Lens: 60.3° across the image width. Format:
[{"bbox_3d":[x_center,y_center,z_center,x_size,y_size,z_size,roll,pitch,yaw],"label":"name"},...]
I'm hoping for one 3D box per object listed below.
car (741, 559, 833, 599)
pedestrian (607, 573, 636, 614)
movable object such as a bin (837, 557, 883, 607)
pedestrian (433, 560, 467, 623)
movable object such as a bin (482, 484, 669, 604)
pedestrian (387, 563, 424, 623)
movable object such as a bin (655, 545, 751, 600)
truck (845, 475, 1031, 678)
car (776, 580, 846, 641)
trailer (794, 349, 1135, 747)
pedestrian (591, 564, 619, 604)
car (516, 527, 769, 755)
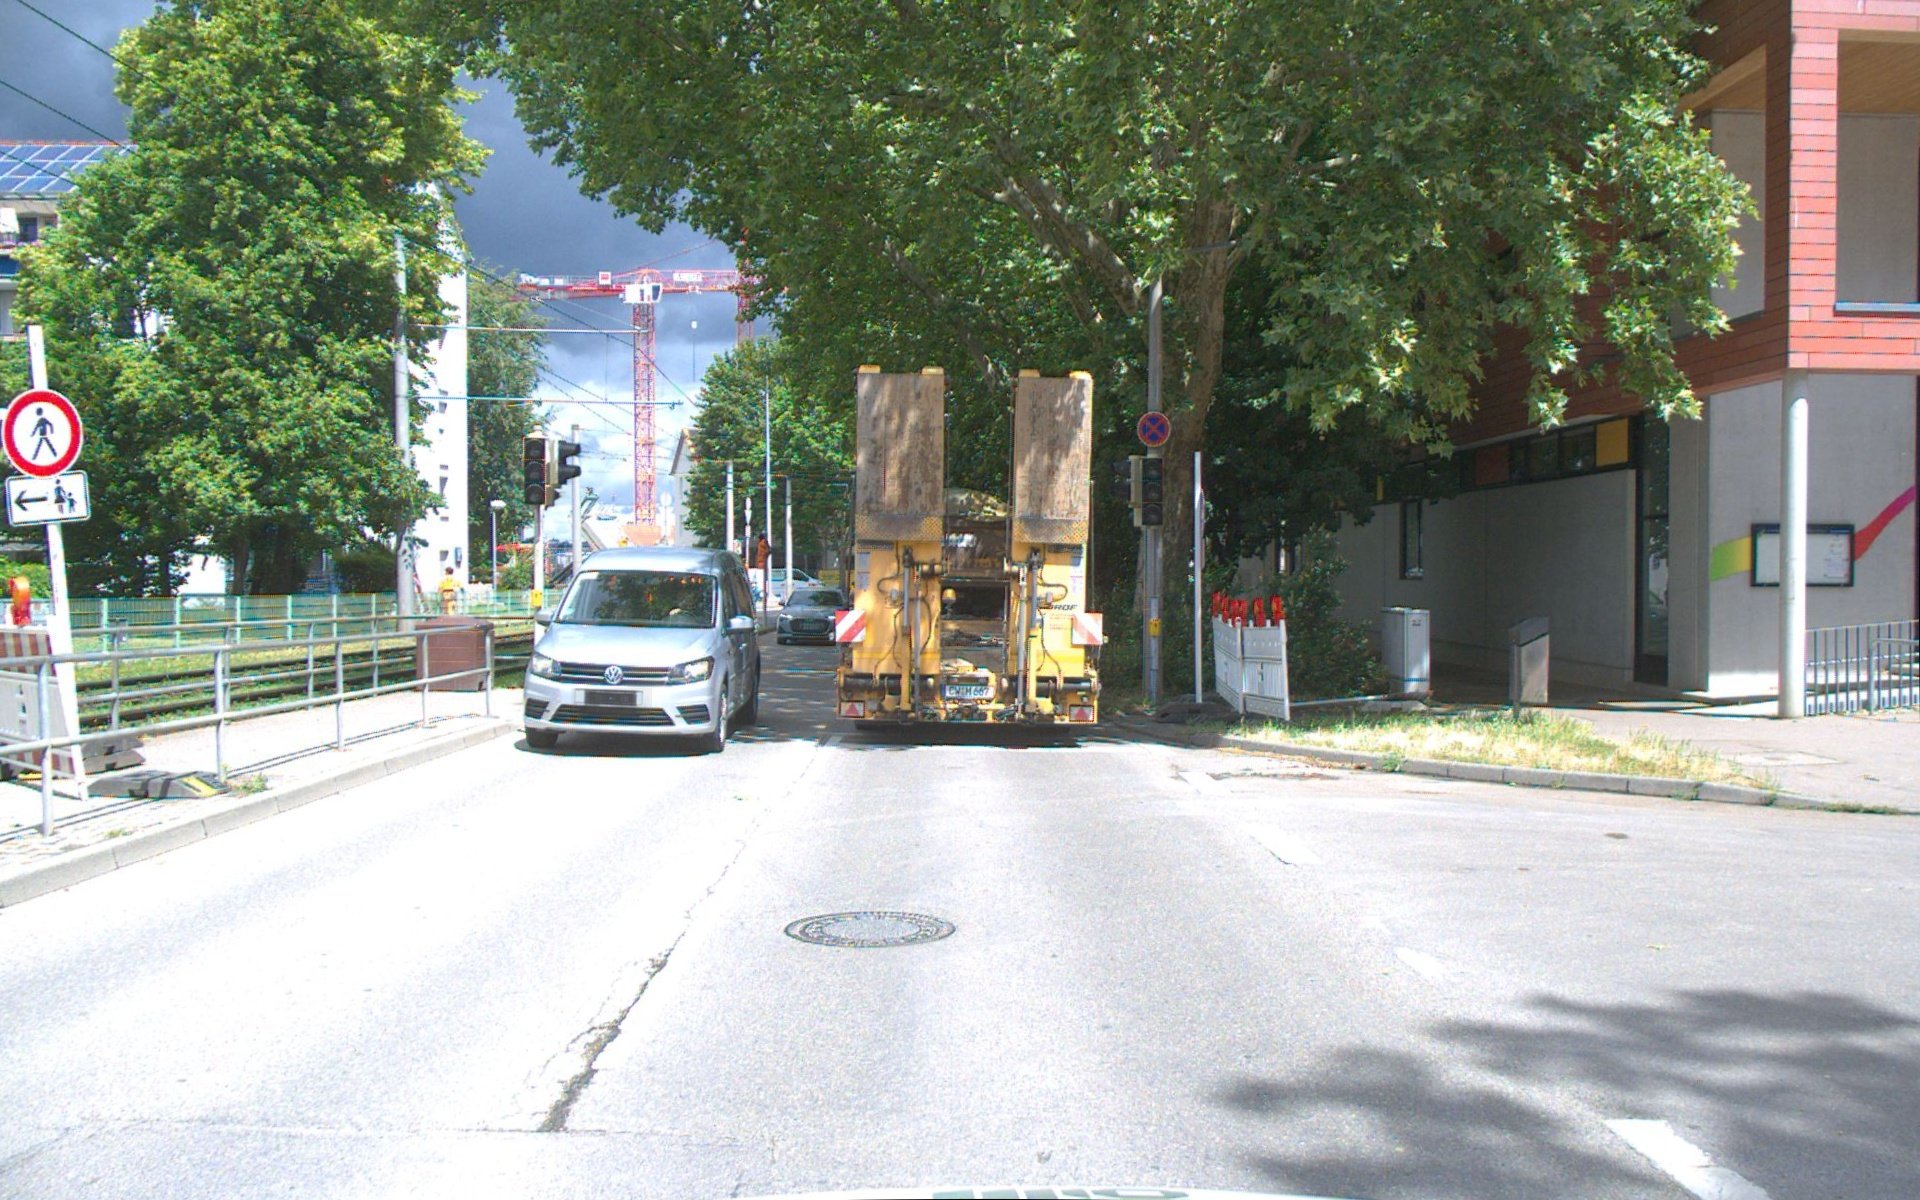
[{"bbox_3d":[-10.042,-1.208,95.856,5.005,2.139,1.969,2,0,-15],"label":"car"},{"bbox_3d":[-13.953,-0.279,68.177,0.878,1.673,0.827,1,0,-35],"label":"pedestrian"},{"bbox_3d":[-4.202,-0.749,69.835,1.369,2.049,2.558,1,1,10],"label":"movable object such as a bin"},{"bbox_3d":[-14.389,-0.243,46.679,0.685,1.748,0.867,1,0,-1],"label":"pedestrian"},{"bbox_3d":[-18.408,-2.653,79.006,9.021,5.509,2.661,1,0,26],"label":"movable object such as a bin"},{"bbox_3d":[-15.431,-0.189,46.038,0.717,1.654,0.867,0,0,-1],"label":"pedestrian"},{"bbox_3d":[-12.907,-1.393,83.067,4.281,2.675,2.218,1,1,26],"label":"movable object such as a bin"},{"bbox_3d":[-0.502,-0.405,30.257,2.929,3.189,7.884,1,0,-2],"label":"truck"},{"bbox_3d":[-3.754,0.238,42.157,1.603,1.460,3.850,0,1,-3],"label":"car"},{"bbox_3d":[-0.149,-0.516,20.765,3.091,3.614,11.092,1,0,-2],"label":"trailer"},{"bbox_3d":[-14.906,-0.678,69.415,0.877,1.673,0.890,1,0,-32],"label":"pedestrian"},{"bbox_3d":[-2.921,0.305,16.167,1.718,1.872,4.644,1,1,-2],"label":"car"}]
